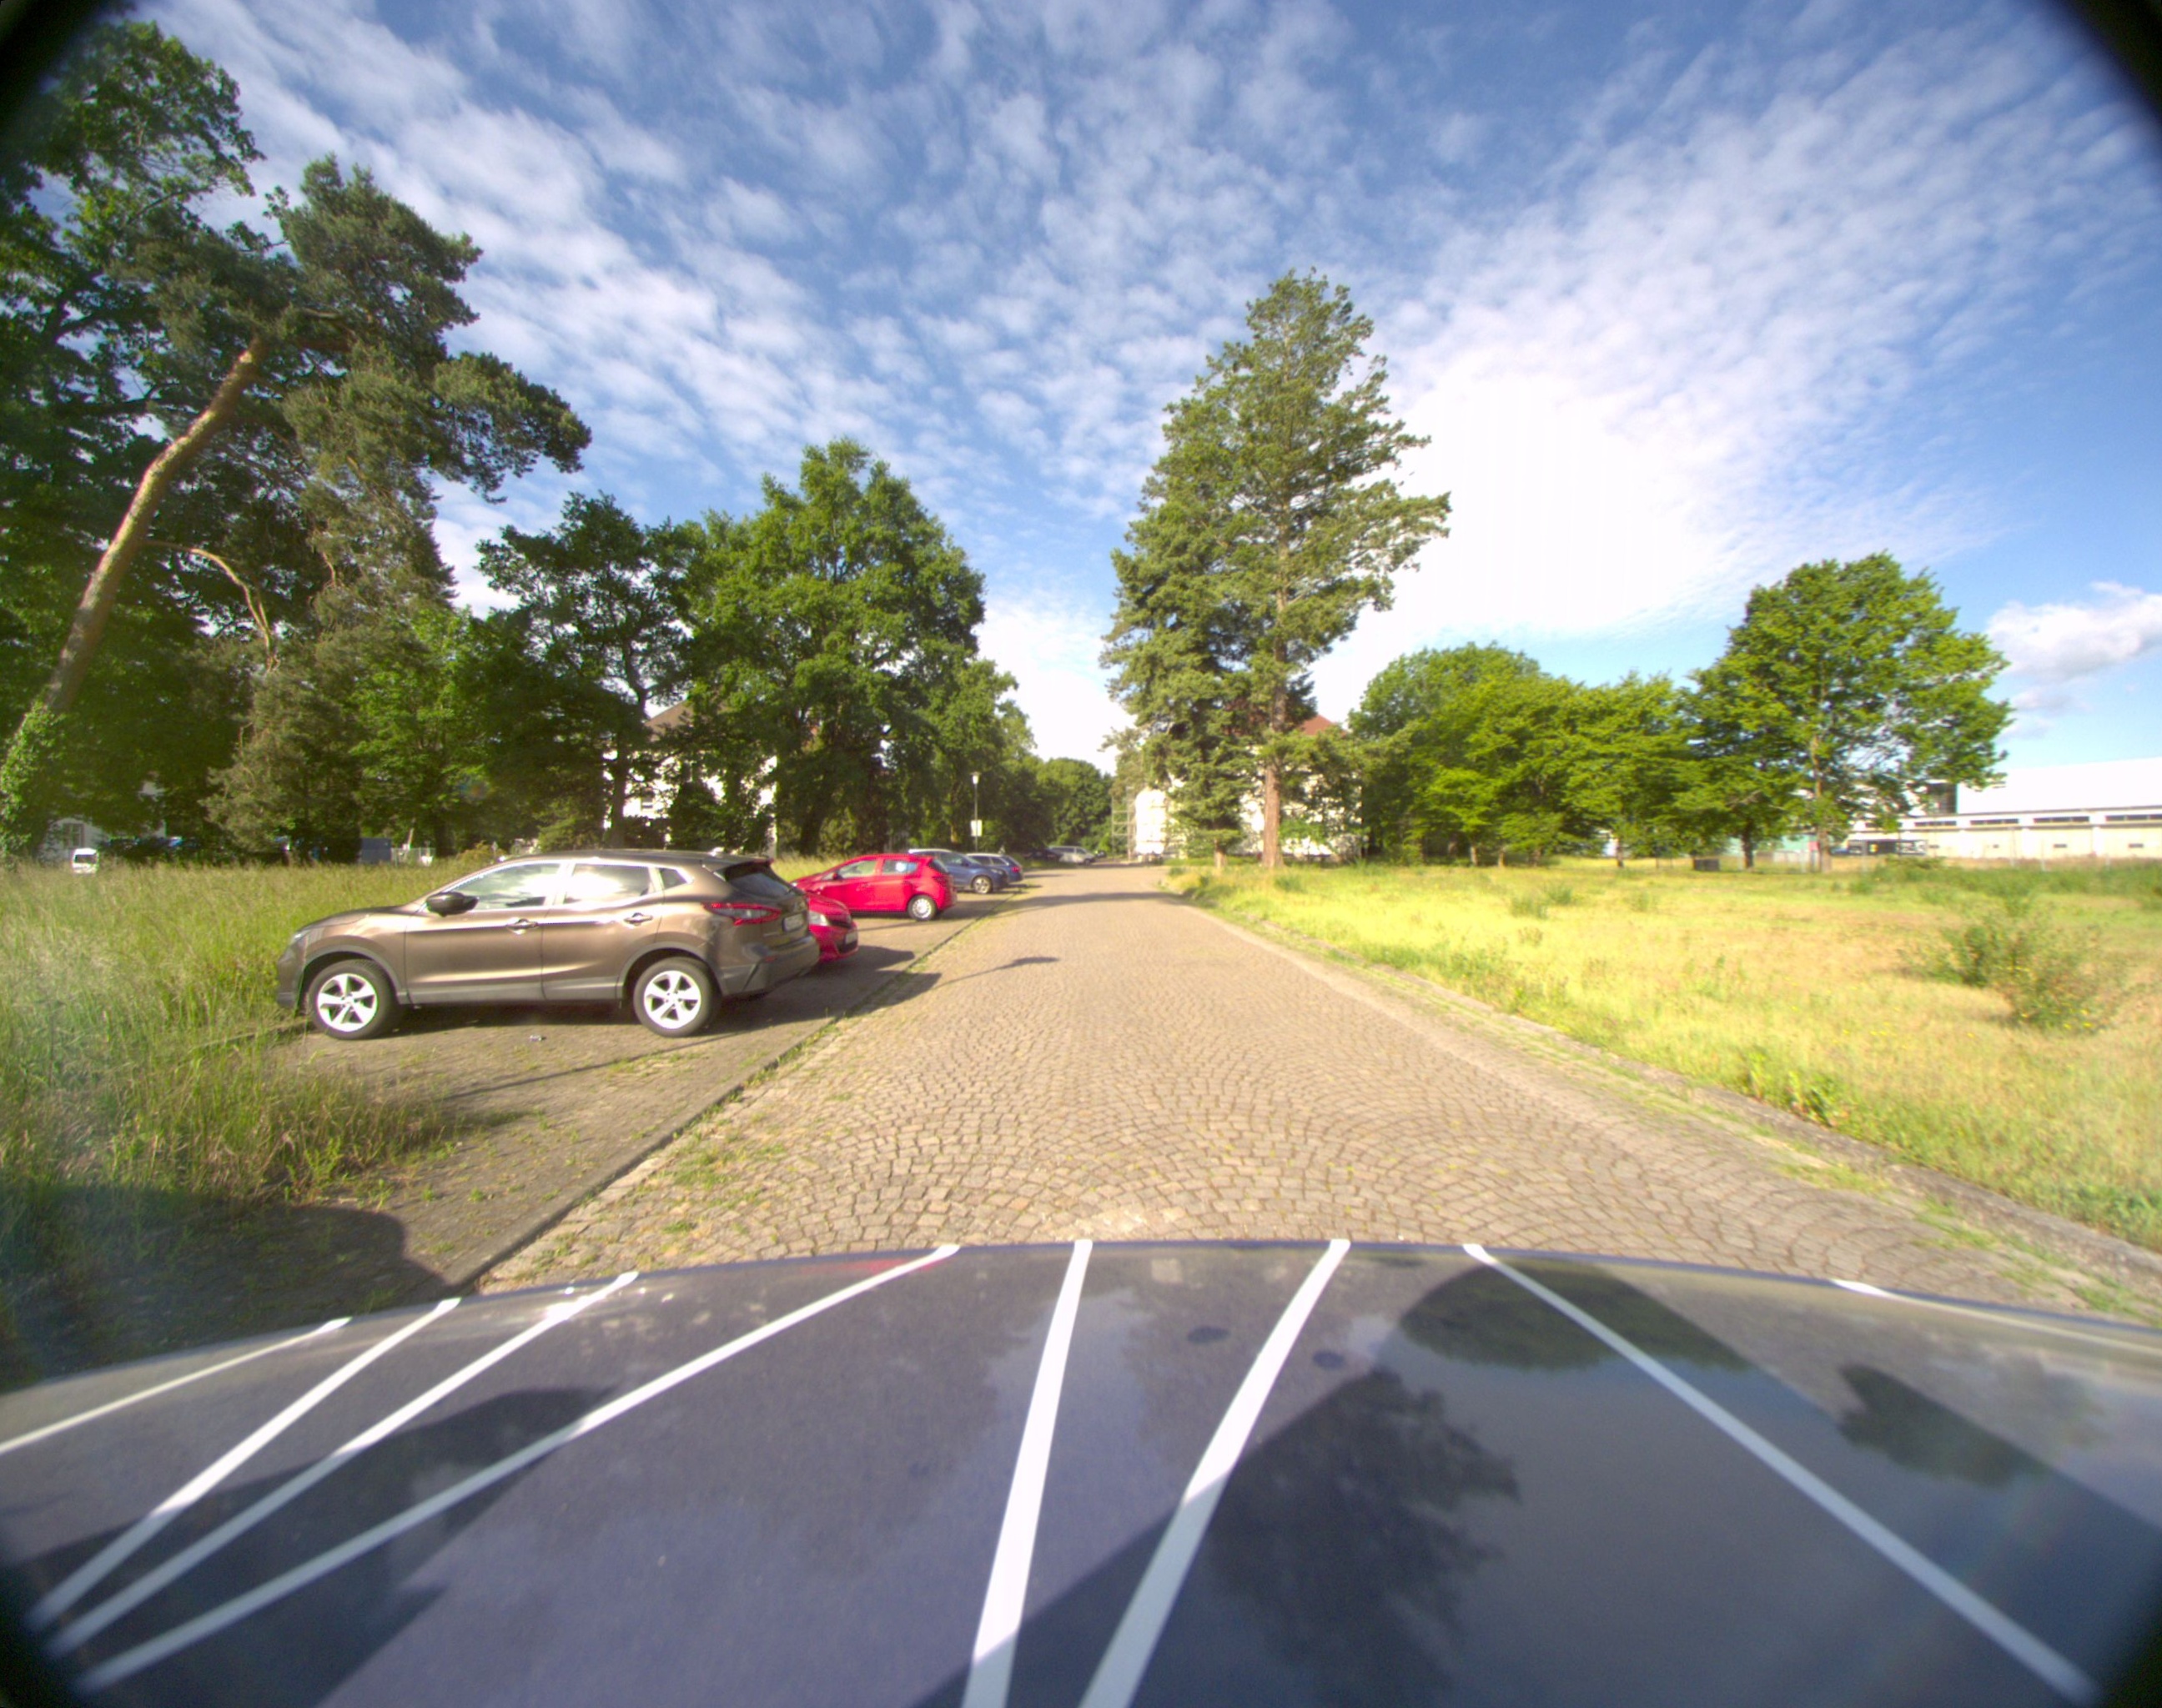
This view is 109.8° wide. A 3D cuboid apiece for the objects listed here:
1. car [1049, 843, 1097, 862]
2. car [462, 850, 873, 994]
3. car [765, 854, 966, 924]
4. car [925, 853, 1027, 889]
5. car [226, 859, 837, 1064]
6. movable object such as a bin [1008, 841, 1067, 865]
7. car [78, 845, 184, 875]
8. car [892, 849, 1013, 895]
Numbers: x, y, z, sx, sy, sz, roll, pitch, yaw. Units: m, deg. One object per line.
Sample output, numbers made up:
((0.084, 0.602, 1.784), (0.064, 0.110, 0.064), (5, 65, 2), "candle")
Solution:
((-0.844, -0.170, 81.198), (4.933, 2.002, 1.998), (1, 1, -6), "car")
((-5.063, 0.802, 9.826), (4.237, 1.589, 1.934), (1, 1, -3), "car")
((-4.842, 0.771, 17.520), (4.098, 1.451, 1.852), (1, 0, -1), "car")
((-4.402, 0.701, 32.432), (4.098, 1.415, 1.784), (1, 0, -1), "car")
((-4.712, 0.870, 7.122), (4.237, 1.589, 1.934), (0, 1, -3), "car")
((-3.896, -0.107, 68.276), (4.865, 2.002, 2.002), (-1, 1, 13), "movable object such as a bin")
((-68.188, 0.367, 54.657), (1.906, 1.928, 4.394), (-2, 1, 1), "car")
((-4.619, 0.628, 27.694), (4.098, 1.548, 1.852), (1, 0, -1), "car")
